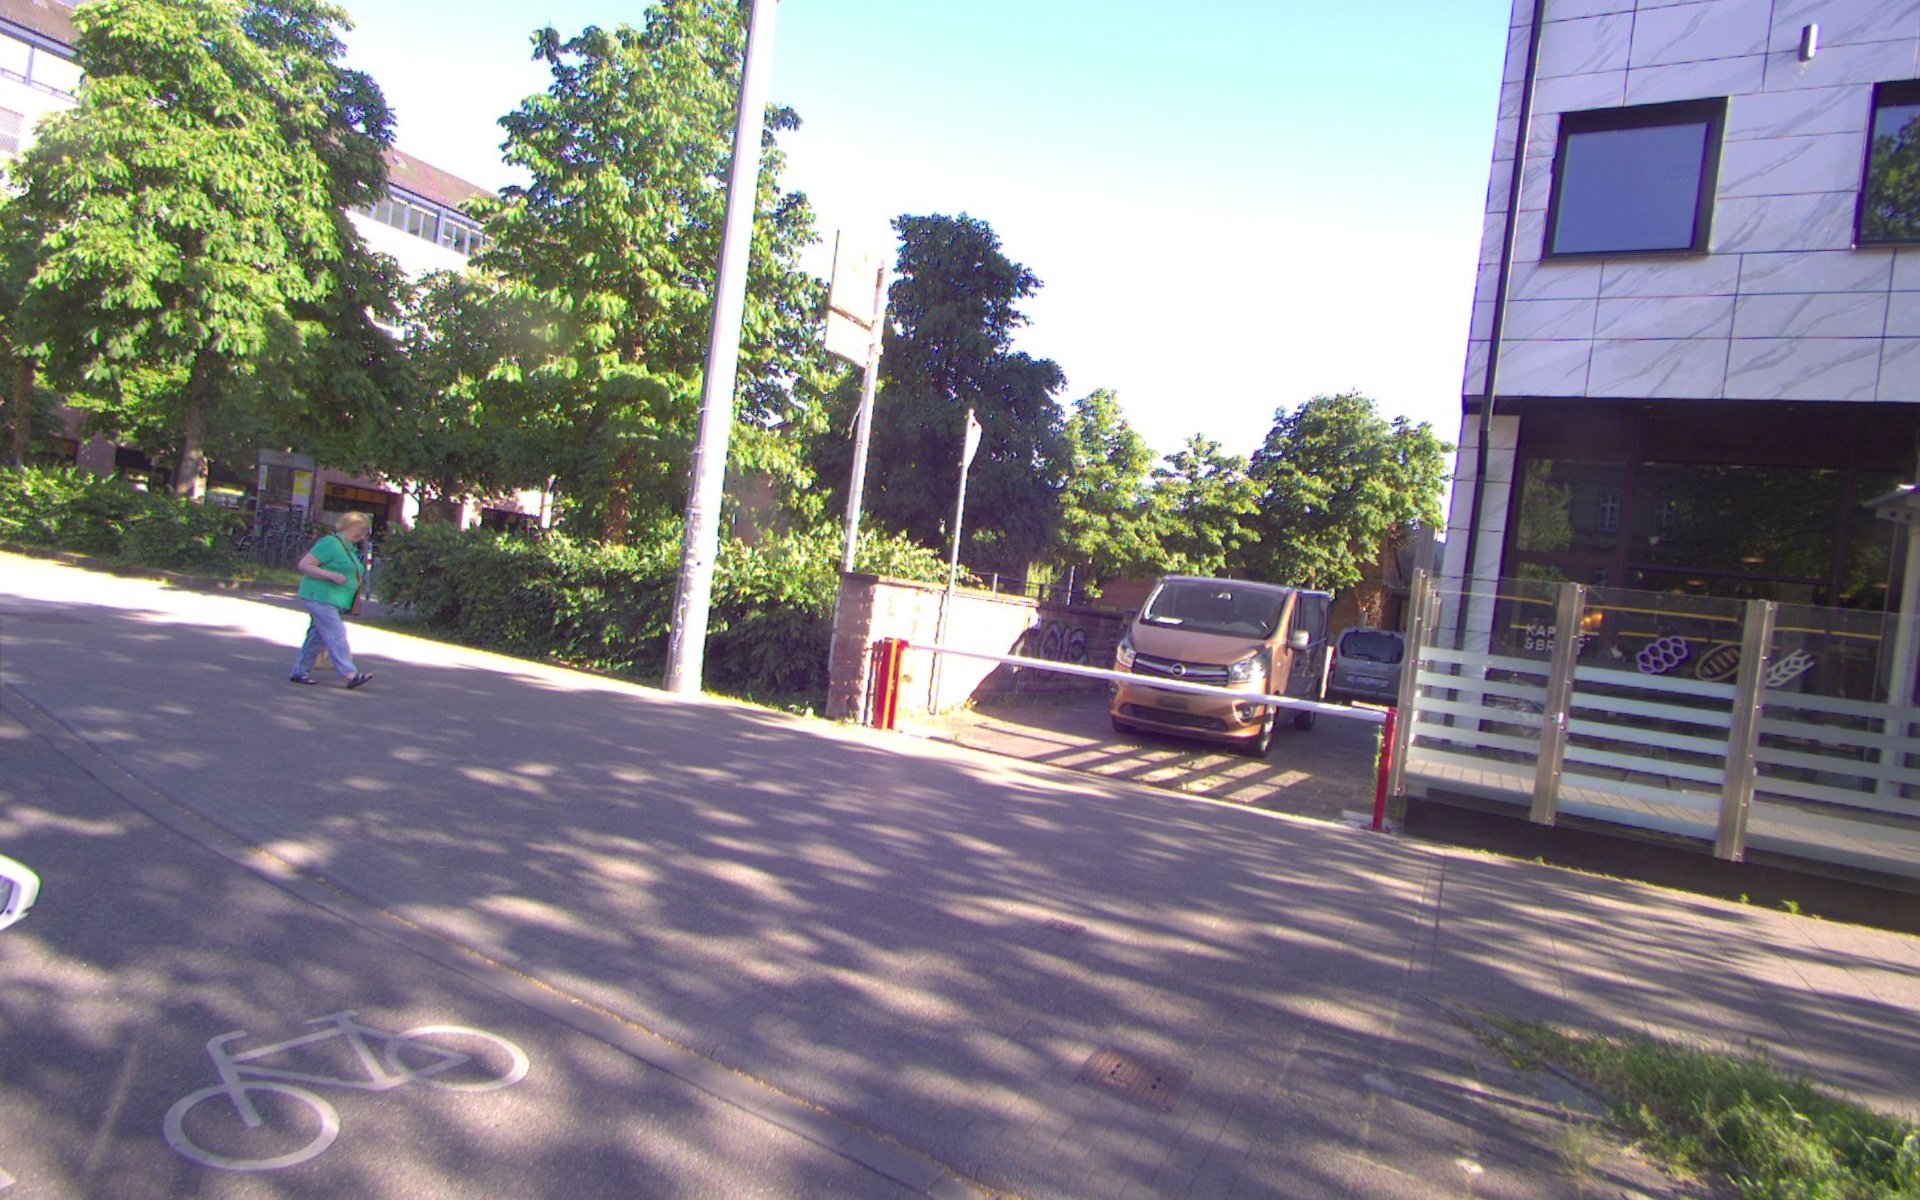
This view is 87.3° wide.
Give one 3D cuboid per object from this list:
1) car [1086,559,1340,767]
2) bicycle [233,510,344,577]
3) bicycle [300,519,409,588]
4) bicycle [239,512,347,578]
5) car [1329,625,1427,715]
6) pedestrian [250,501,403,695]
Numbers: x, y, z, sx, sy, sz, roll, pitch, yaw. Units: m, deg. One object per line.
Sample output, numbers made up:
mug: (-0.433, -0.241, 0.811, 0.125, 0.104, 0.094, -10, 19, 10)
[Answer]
car: (3.493, 0.692, 13.051, 1.880, 2.011, 4.901, 7, 2, 28)
bicycle: (-15.420, -1.274, 23.157, 0.564, 1.331, 1.998, 7, 1, 31)
bicycle: (-13.555, -1.018, 22.583, 0.564, 1.331, 1.998, 7, 1, 31)
bicycle: (-15.746, -1.284, 23.799, 0.564, 1.331, 1.998, 7, 1, 31)
car: (9.549, 1.566, 22.844, 1.567, 1.692, 3.616, 7, 0, 28)
pedestrian: (-5.665, -0.016, 9.047, 0.818, 1.595, 0.737, 6, 1, -9)
